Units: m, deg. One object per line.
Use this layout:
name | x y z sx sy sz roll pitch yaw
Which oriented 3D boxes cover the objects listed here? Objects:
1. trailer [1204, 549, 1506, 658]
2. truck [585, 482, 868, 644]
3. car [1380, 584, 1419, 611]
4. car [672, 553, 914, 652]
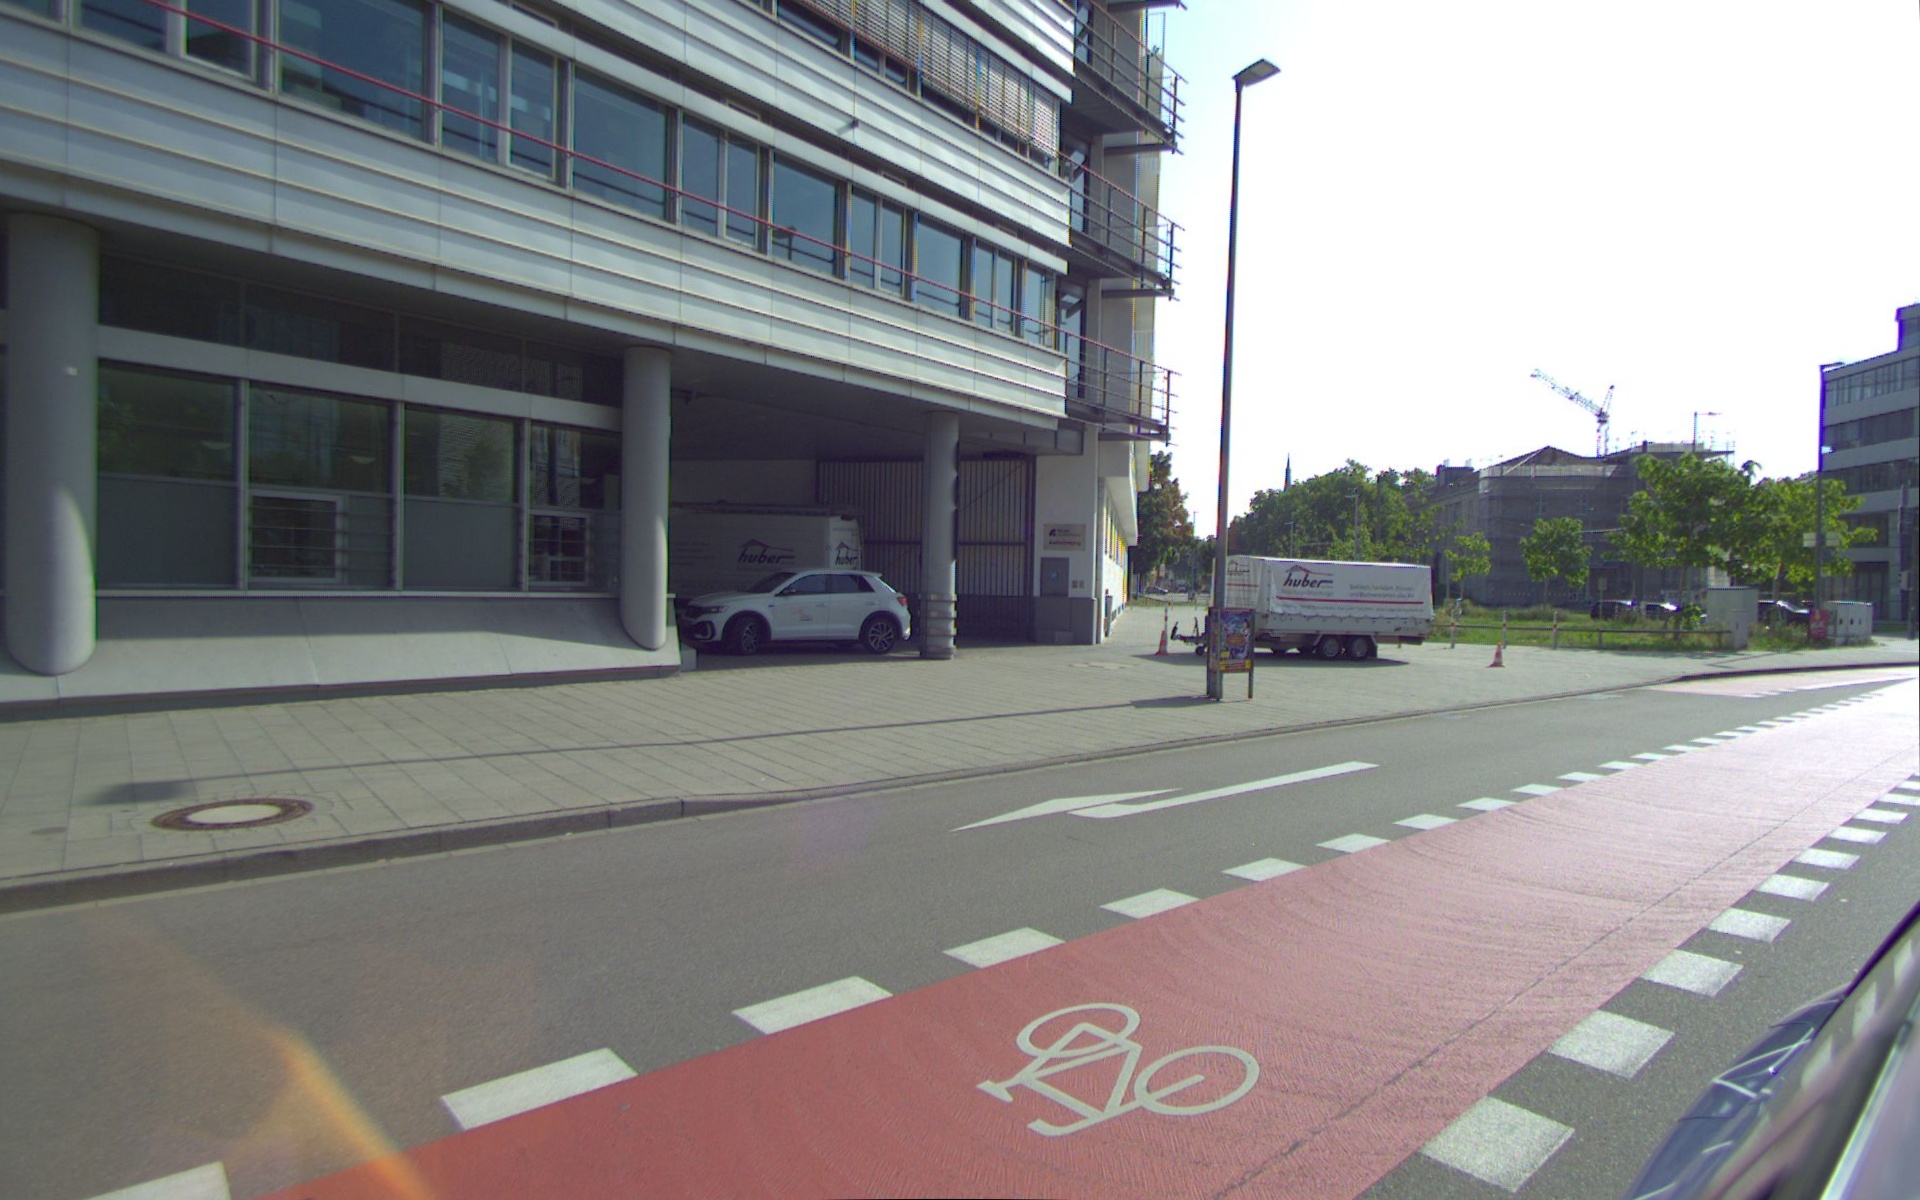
trailer | 8.594 0.085 22.155 5.824 2.178 2.402 1 1 -15
truck | -5.373 -0.928 23.271 6.070 3.134 1.990 5 3 17
car | 35.732 -0.239 82.391 1.968 2.039 3.989 1 1 10
car | -2.993 0.062 18.342 3.921 1.609 1.751 2 1 -32
